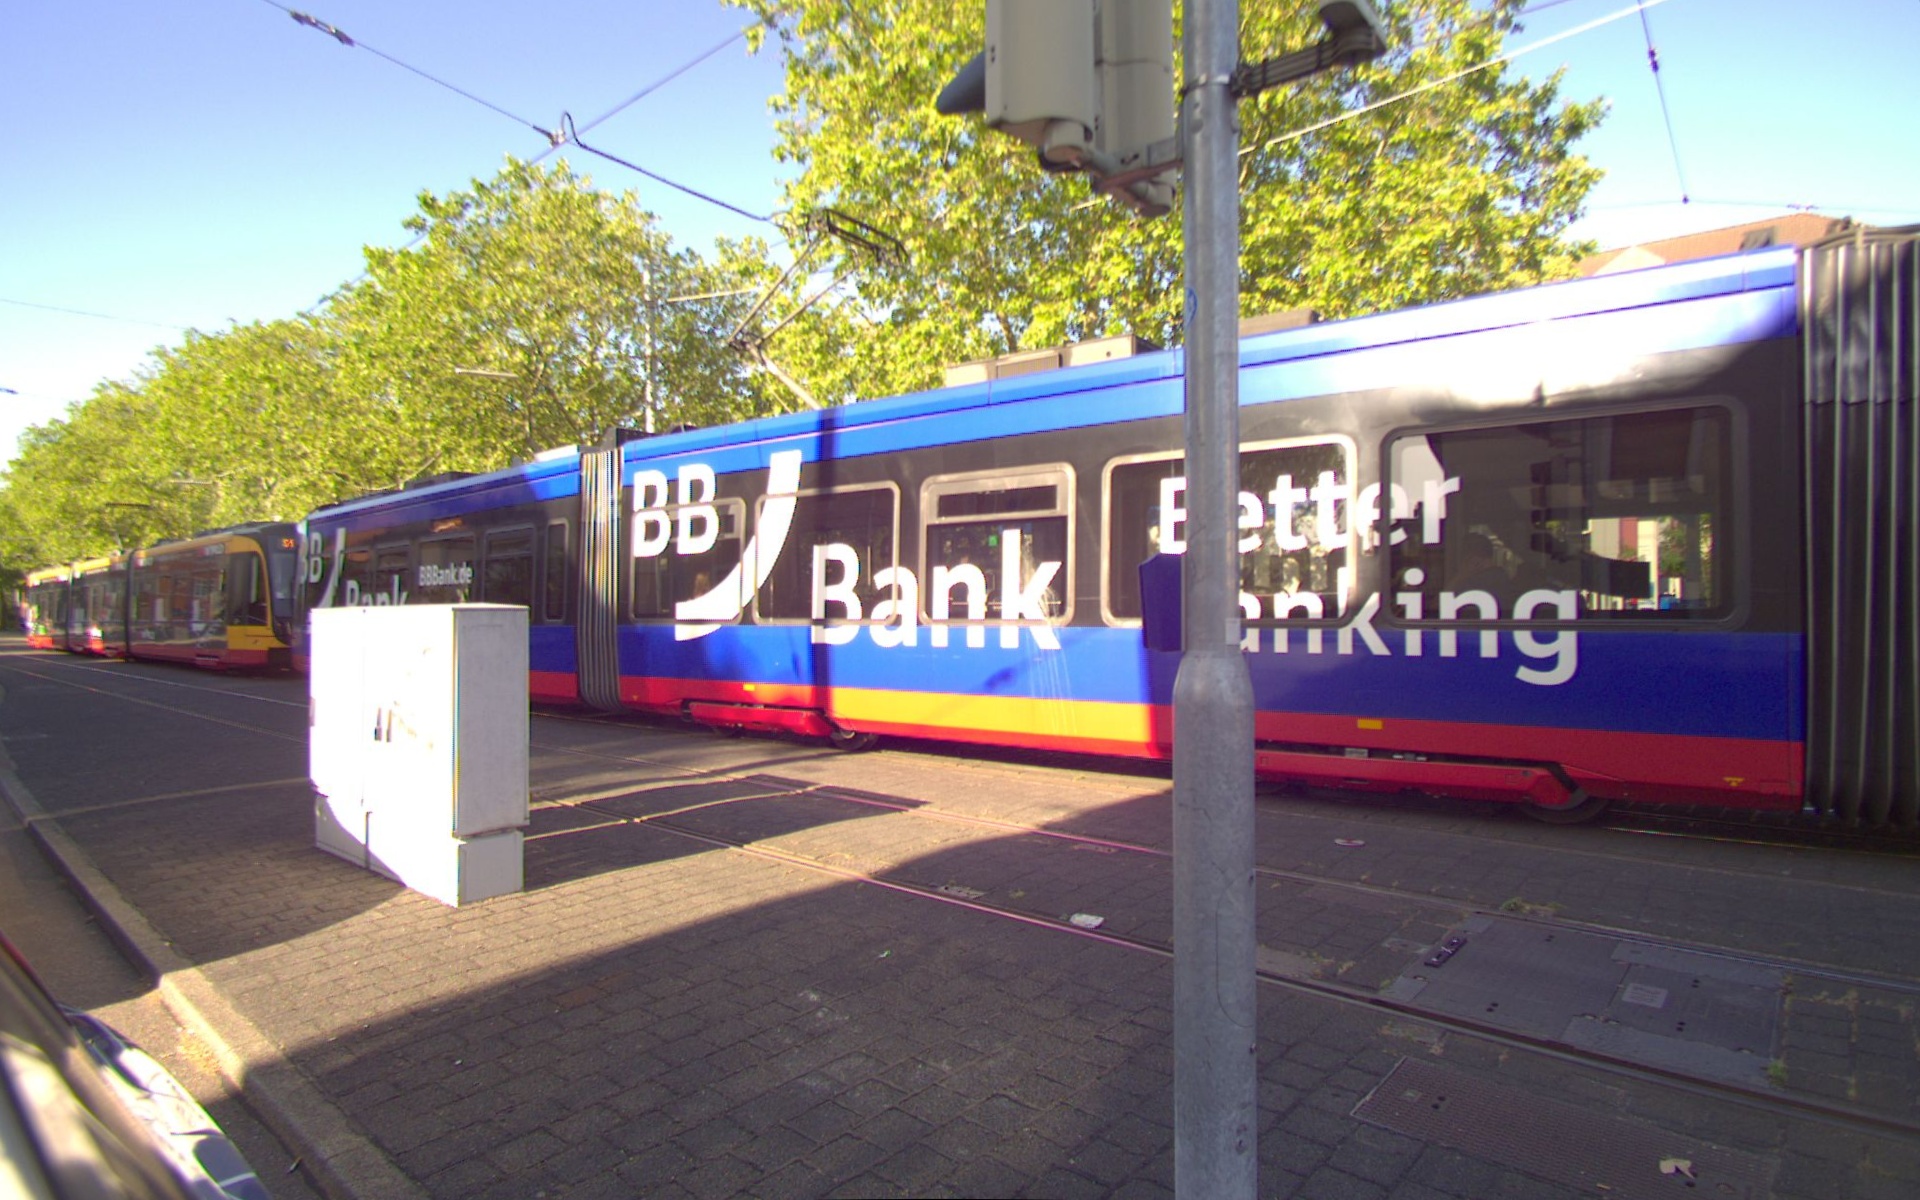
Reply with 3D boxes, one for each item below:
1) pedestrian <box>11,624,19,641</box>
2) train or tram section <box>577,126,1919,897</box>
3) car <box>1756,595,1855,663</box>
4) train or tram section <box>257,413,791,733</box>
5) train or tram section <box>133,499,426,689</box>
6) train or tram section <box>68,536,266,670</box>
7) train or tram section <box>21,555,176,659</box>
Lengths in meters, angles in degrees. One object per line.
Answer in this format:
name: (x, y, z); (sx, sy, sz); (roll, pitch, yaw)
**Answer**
pedestrian: (-92.256, 3.175, 98.798); (0.677, 1.654, 0.570); (-1, -2, 43)
train or tram section: (1.562, -0.333, 8.894); (12.479, 3.640, 3.027); (-1, -1, 37)
car: (20.653, 0.679, 24.727); (1.716, 1.497, 4.162); (-1, -1, 40)
train or tram section: (-7.883, -0.198, 16.623); (12.105, 3.640, 3.024); (-1, -1, 40)
train or tram section: (-16.934, -0.005, 24.576); (12.111, 3.640, 3.023); (-1, -2, 42)
train or tram section: (-25.809, 0.193, 32.583); (11.947, 3.640, 3.022); (-1, -2, 42)
train or tram section: (-35.013, 0.355, 40.853); (12.885, 3.640, 3.023); (-1, -2, 42)
